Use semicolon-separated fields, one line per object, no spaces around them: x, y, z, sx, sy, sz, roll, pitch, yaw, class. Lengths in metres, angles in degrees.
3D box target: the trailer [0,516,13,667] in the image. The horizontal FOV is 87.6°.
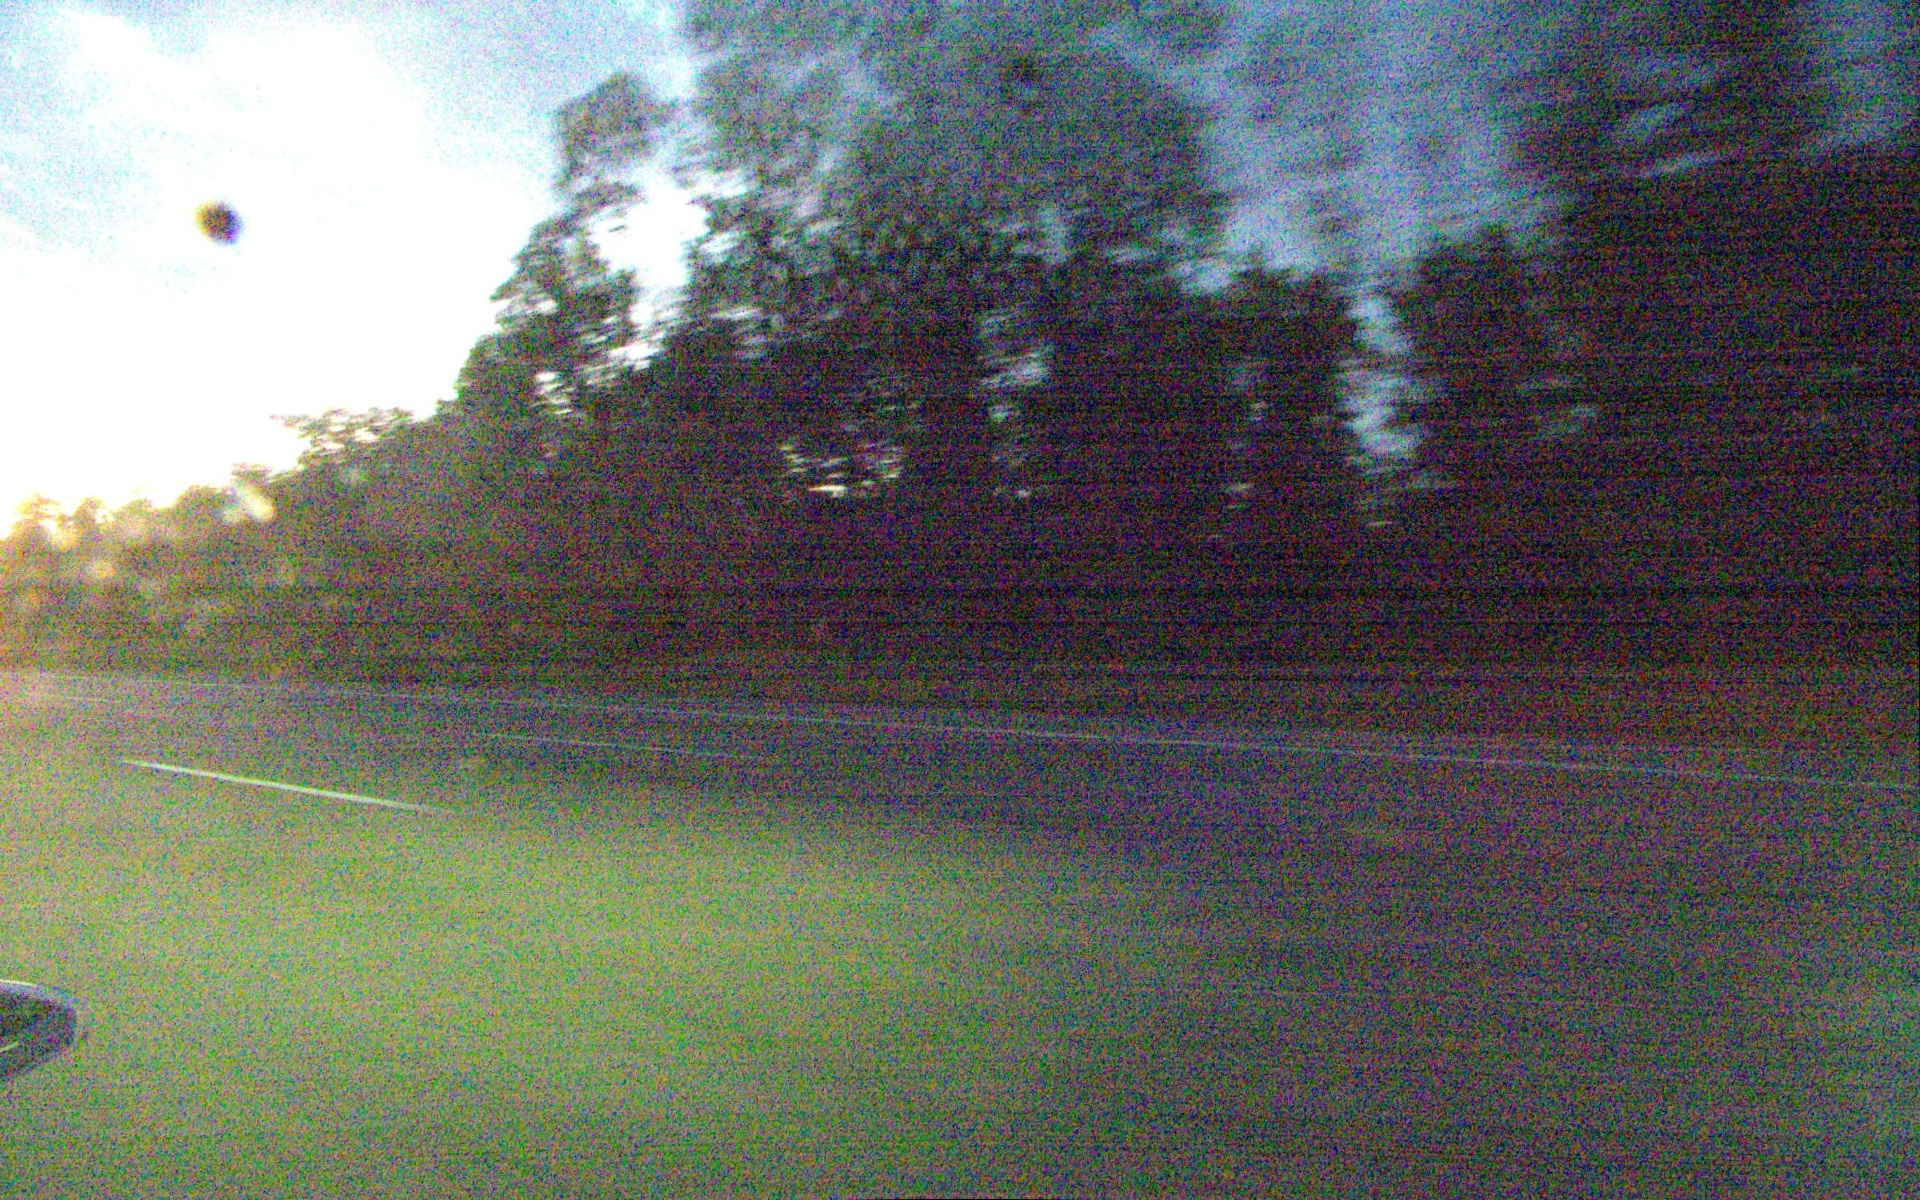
-31.245;-0.118;29.545;10.220;4.153;2.899;-2;-1;35;trailer
